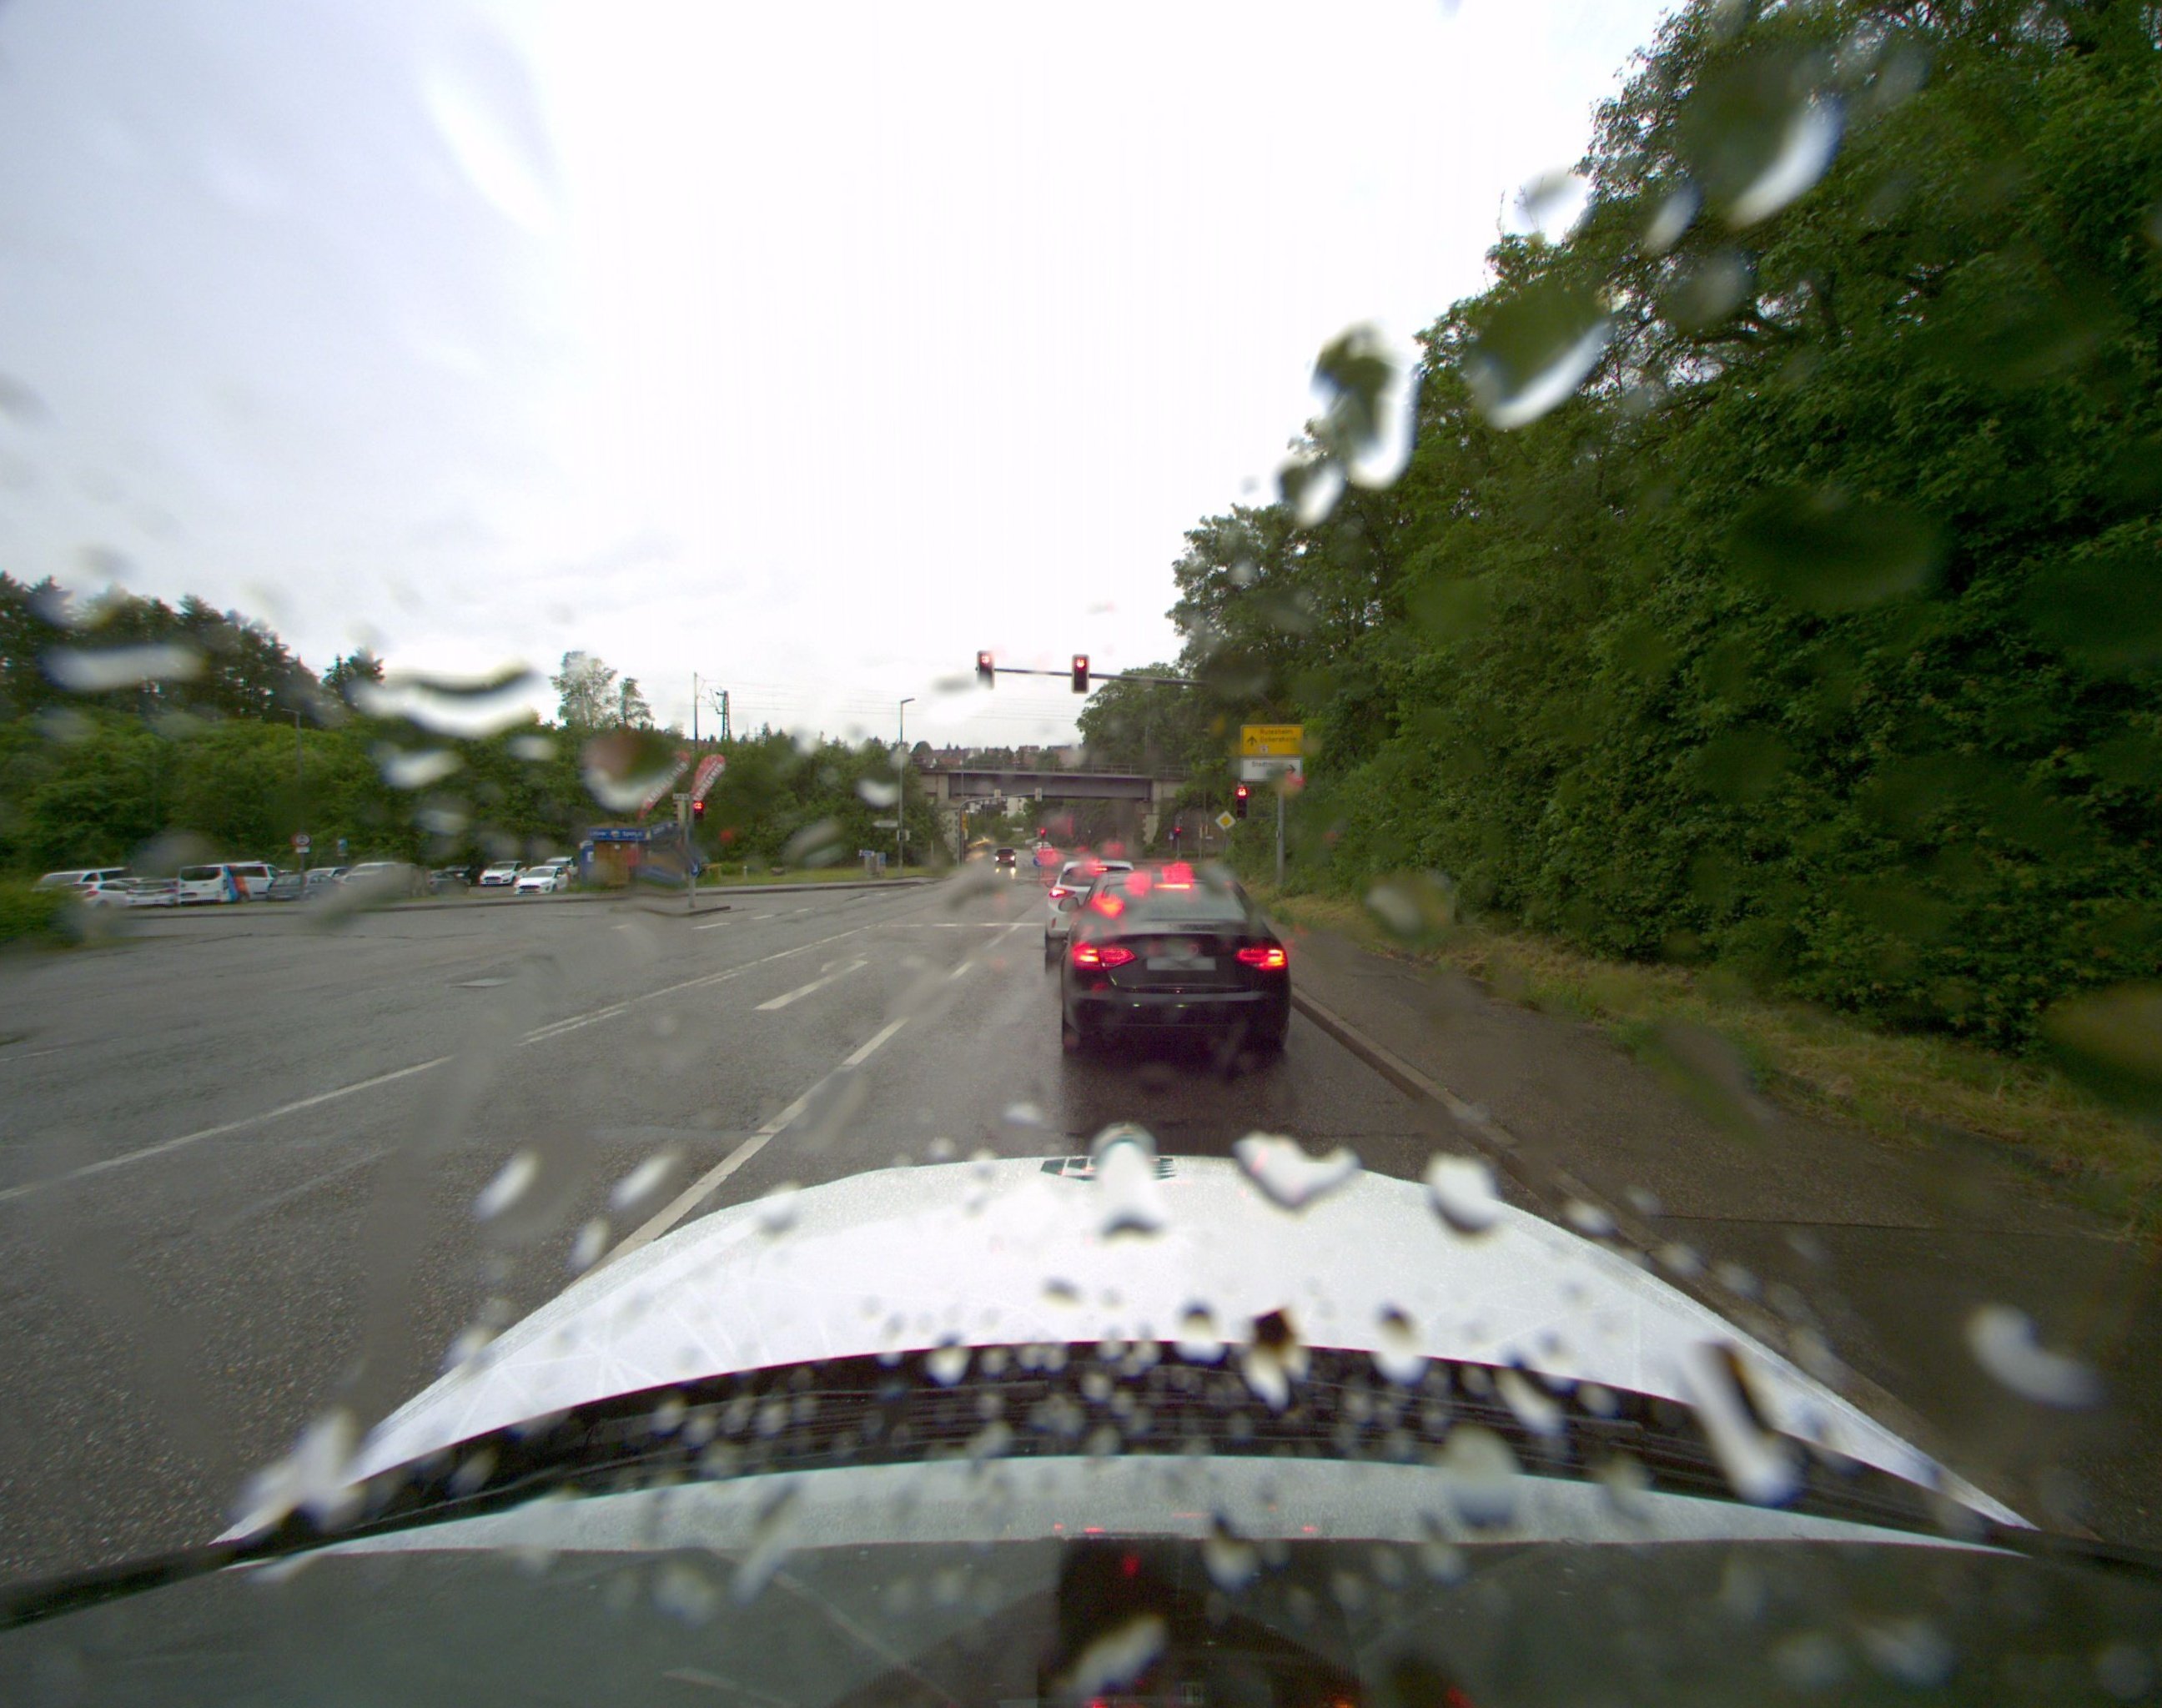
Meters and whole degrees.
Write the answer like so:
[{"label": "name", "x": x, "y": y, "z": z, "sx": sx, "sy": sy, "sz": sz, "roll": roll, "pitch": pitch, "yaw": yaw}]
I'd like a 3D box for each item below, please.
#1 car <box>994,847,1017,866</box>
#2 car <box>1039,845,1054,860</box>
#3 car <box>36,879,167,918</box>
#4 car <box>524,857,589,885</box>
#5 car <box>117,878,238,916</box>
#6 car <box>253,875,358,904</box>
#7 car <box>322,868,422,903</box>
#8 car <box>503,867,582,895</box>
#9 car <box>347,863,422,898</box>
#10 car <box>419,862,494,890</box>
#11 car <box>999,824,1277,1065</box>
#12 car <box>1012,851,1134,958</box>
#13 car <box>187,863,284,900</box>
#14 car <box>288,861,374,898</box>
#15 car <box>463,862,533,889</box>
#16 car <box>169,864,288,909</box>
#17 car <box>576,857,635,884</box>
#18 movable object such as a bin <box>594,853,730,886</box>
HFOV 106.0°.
[{"label": "car", "x": -6.979, "y": 0.201, "z": 75.297, "sx": 1.990, "sy": 1.628, "sz": 3.993, "roll": -1, "pitch": 0, "yaw": -5}, {"label": "car", "x": -4.320, "y": -0.162, "z": 101.825, "sx": 1.801, "sy": 1.742, "sz": 4.474, "roll": -1, "pitch": -1, "yaw": -3}, {"label": "car", "x": -44.367, "y": 1.982, "z": 37.044, "sx": 1.837, "sy": 1.585, "sz": 3.978, "roll": 0, "pitch": -1, "yaw": -16}, {"label": "car", "x": -32.614, "y": 1.039, "z": 50.771, "sx": 1.994, "sy": 1.585, "sz": 3.985, "roll": -2, "pitch": 0, "yaw": -11}, {"label": "car", "x": -41.732, "y": 1.943, "z": 37.751, "sx": 1.858, "sy": 1.585, "sz": 3.978, "roll": 0, "pitch": -1, "yaw": -16}, {"label": "car", "x": -37.167, "y": 1.674, "z": 39.172, "sx": 1.751, "sy": 1.310, "sz": 3.984, "roll": 0, "pitch": -1, "yaw": -11}, {"label": "car", "x": -34.591, "y": 1.518, "z": 39.881, "sx": 1.937, "sy": 1.585, "sz": 3.892, "roll": 0, "pitch": -1, "yaw": -11}, {"label": "car", "x": -27.712, "y": 1.363, "z": 42.121, "sx": 1.652, "sy": 1.340, "sz": 4.883, "roll": 0, "pitch": -1, "yaw": -11}, {"label": "car", "x": -42.171, "y": 1.555, "z": 49.428, "sx": 1.941, "sy": 2.013, "sz": 3.849, "roll": 0, "pitch": 0, "yaw": -15}, {"label": "car", "x": -37.951, "y": 1.327, "z": 49.611, "sx": 1.994, "sy": 1.585, "sz": 3.984, "roll": 0, "pitch": -1, "yaw": -11}, {"label": "car", "x": 0.446, "y": 0.650, "z": 7.530, "sx": 1.863, "sy": 1.617, "sz": 4.001, "roll": -1, "pitch": -1, "yaw": 2}, {"label": "car", "x": -0.061, "y": 0.793, "z": 14.173, "sx": 1.816, "sy": 1.585, "sz": 4.001, "roll": -1, "pitch": -1, "yaw": 2}, {"label": "car", "x": -49.291, "y": 1.562, "z": 47.588, "sx": 1.995, "sy": 2.013, "sz": 3.983, "roll": -1, "pitch": 0, "yaw": -12}, {"label": "car", "x": -44.771, "y": 1.487, "z": 48.750, "sx": 1.995, "sy": 2.013, "sz": 3.983, "roll": -2, "pitch": 0, "yaw": -12}, {"label": "car", "x": -35.594, "y": 1.302, "z": 49.839, "sx": 1.994, "sy": 1.585, "sz": 3.984, "roll": 0, "pitch": -1, "yaw": -11}, {"label": "car", "x": -39.446, "y": 1.468, "z": 37.829, "sx": 1.997, "sy": 1.949, "sz": 3.978, "roll": 0, "pitch": -1, "yaw": -16}, {"label": "car", "x": -30.378, "y": 1.038, "z": 52.173, "sx": 1.994, "sy": 1.585, "sz": 3.985, "roll": -2, "pitch": 0, "yaw": -11}, {"label": "movable object such as a bin", "x": -21.989, "y": 0.813, "z": 42.976, "sx": 2.716, "sy": 1.628, "sz": 5.816, "roll": -2, "pitch": -1, "yaw": 41}]
